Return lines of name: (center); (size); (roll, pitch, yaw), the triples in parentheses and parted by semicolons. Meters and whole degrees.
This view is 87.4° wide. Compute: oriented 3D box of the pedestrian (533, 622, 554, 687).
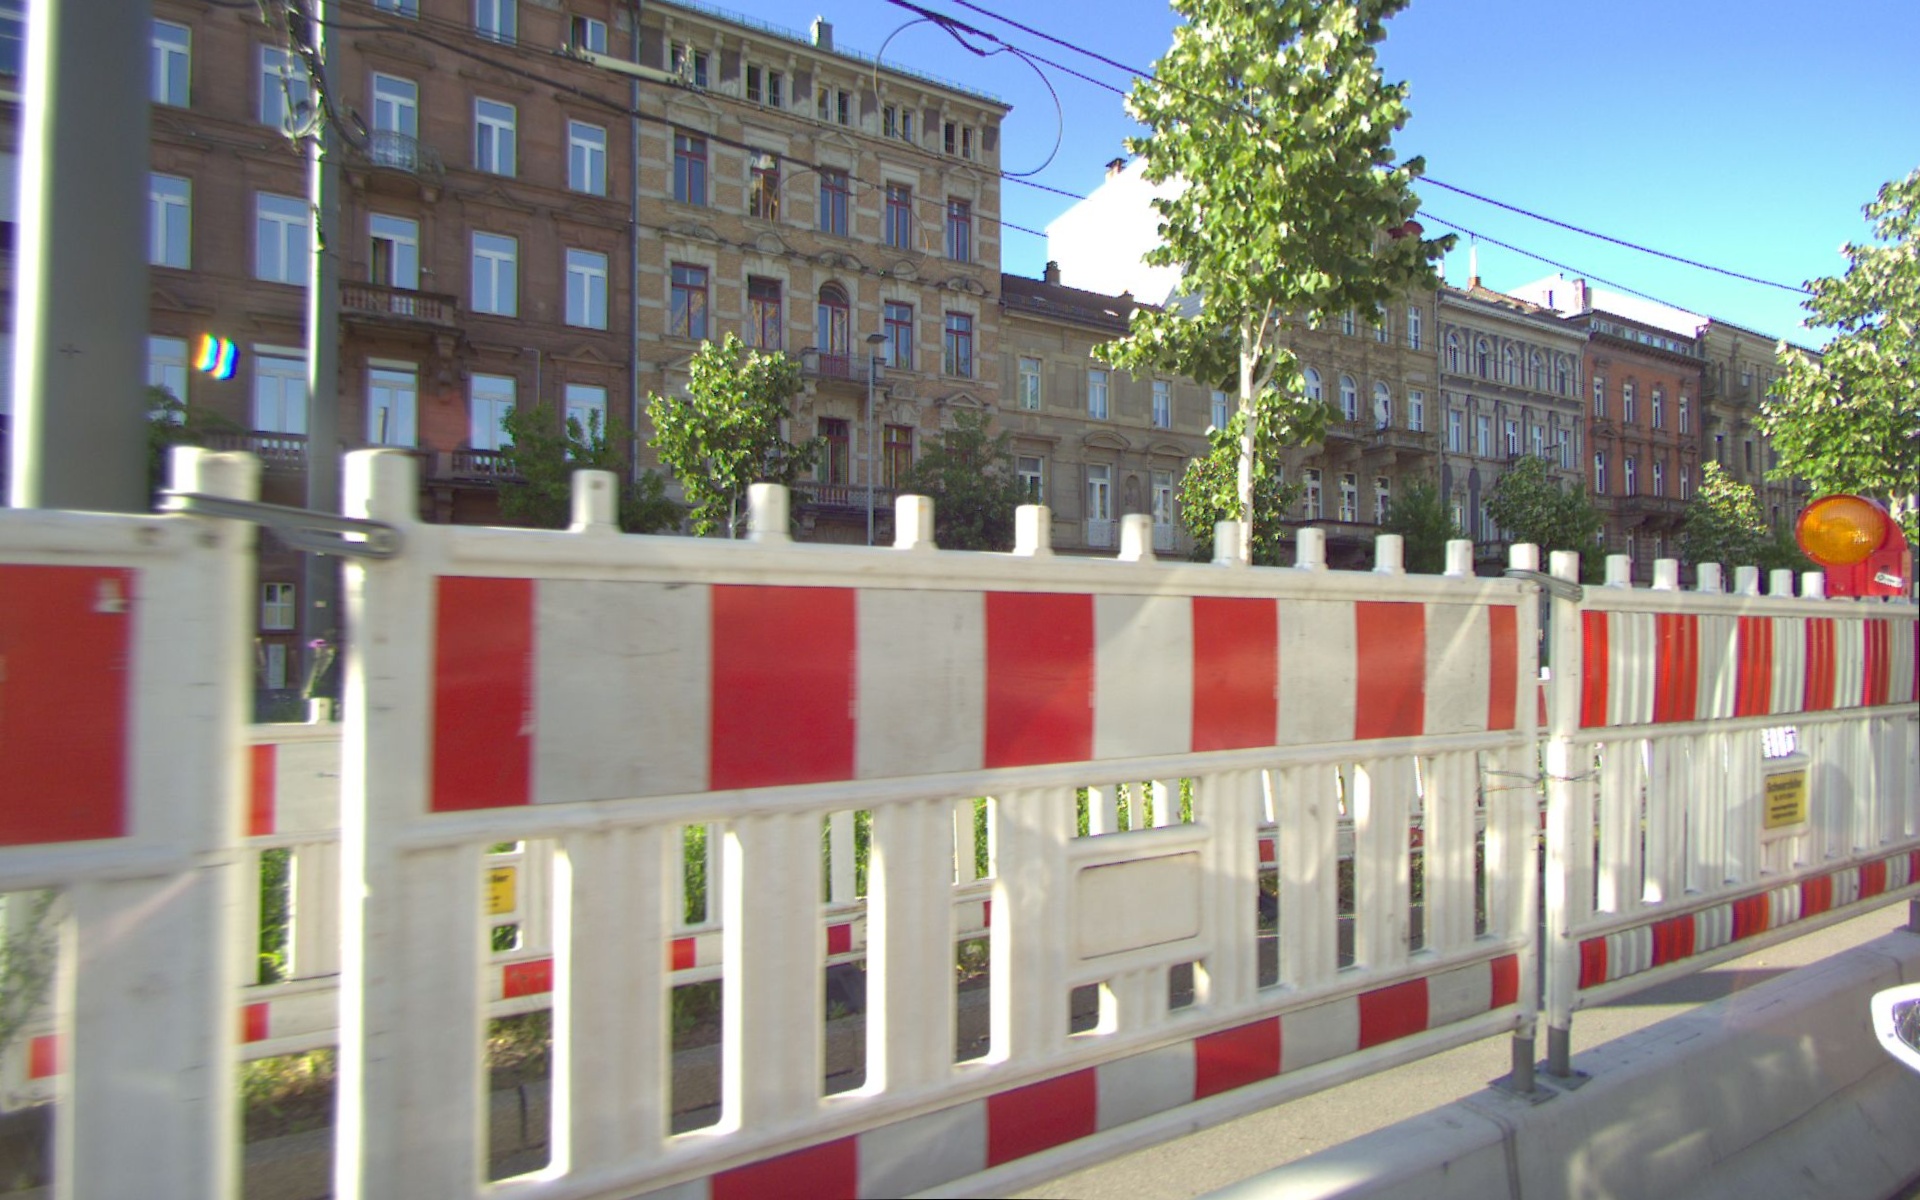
pedestrian: (-10.402, 1.359, 25.099); (0.381, 1.606, 0.431); (1, 0, -33)

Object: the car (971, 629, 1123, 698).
car: (2.278, 1.598, 26.123); (3.763, 1.697, 1.559); (1, -2, -30)

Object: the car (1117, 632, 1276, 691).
car: (6.837, 1.711, 28.860); (4.658, 1.583, 1.559); (1, -2, -30)

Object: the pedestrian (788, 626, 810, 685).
pedestrian: (-4.460, 1.520, 27.799); (0.431, 1.606, 0.457); (1, 0, -36)

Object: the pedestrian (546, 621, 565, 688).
pedestrian: (-9.895, 1.332, 24.562); (0.335, 1.606, 0.426); (1, 0, -29)

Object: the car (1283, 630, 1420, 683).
car: (12.536, 1.773, 32.078); (4.659, 1.583, 1.559); (1, -2, -31)
